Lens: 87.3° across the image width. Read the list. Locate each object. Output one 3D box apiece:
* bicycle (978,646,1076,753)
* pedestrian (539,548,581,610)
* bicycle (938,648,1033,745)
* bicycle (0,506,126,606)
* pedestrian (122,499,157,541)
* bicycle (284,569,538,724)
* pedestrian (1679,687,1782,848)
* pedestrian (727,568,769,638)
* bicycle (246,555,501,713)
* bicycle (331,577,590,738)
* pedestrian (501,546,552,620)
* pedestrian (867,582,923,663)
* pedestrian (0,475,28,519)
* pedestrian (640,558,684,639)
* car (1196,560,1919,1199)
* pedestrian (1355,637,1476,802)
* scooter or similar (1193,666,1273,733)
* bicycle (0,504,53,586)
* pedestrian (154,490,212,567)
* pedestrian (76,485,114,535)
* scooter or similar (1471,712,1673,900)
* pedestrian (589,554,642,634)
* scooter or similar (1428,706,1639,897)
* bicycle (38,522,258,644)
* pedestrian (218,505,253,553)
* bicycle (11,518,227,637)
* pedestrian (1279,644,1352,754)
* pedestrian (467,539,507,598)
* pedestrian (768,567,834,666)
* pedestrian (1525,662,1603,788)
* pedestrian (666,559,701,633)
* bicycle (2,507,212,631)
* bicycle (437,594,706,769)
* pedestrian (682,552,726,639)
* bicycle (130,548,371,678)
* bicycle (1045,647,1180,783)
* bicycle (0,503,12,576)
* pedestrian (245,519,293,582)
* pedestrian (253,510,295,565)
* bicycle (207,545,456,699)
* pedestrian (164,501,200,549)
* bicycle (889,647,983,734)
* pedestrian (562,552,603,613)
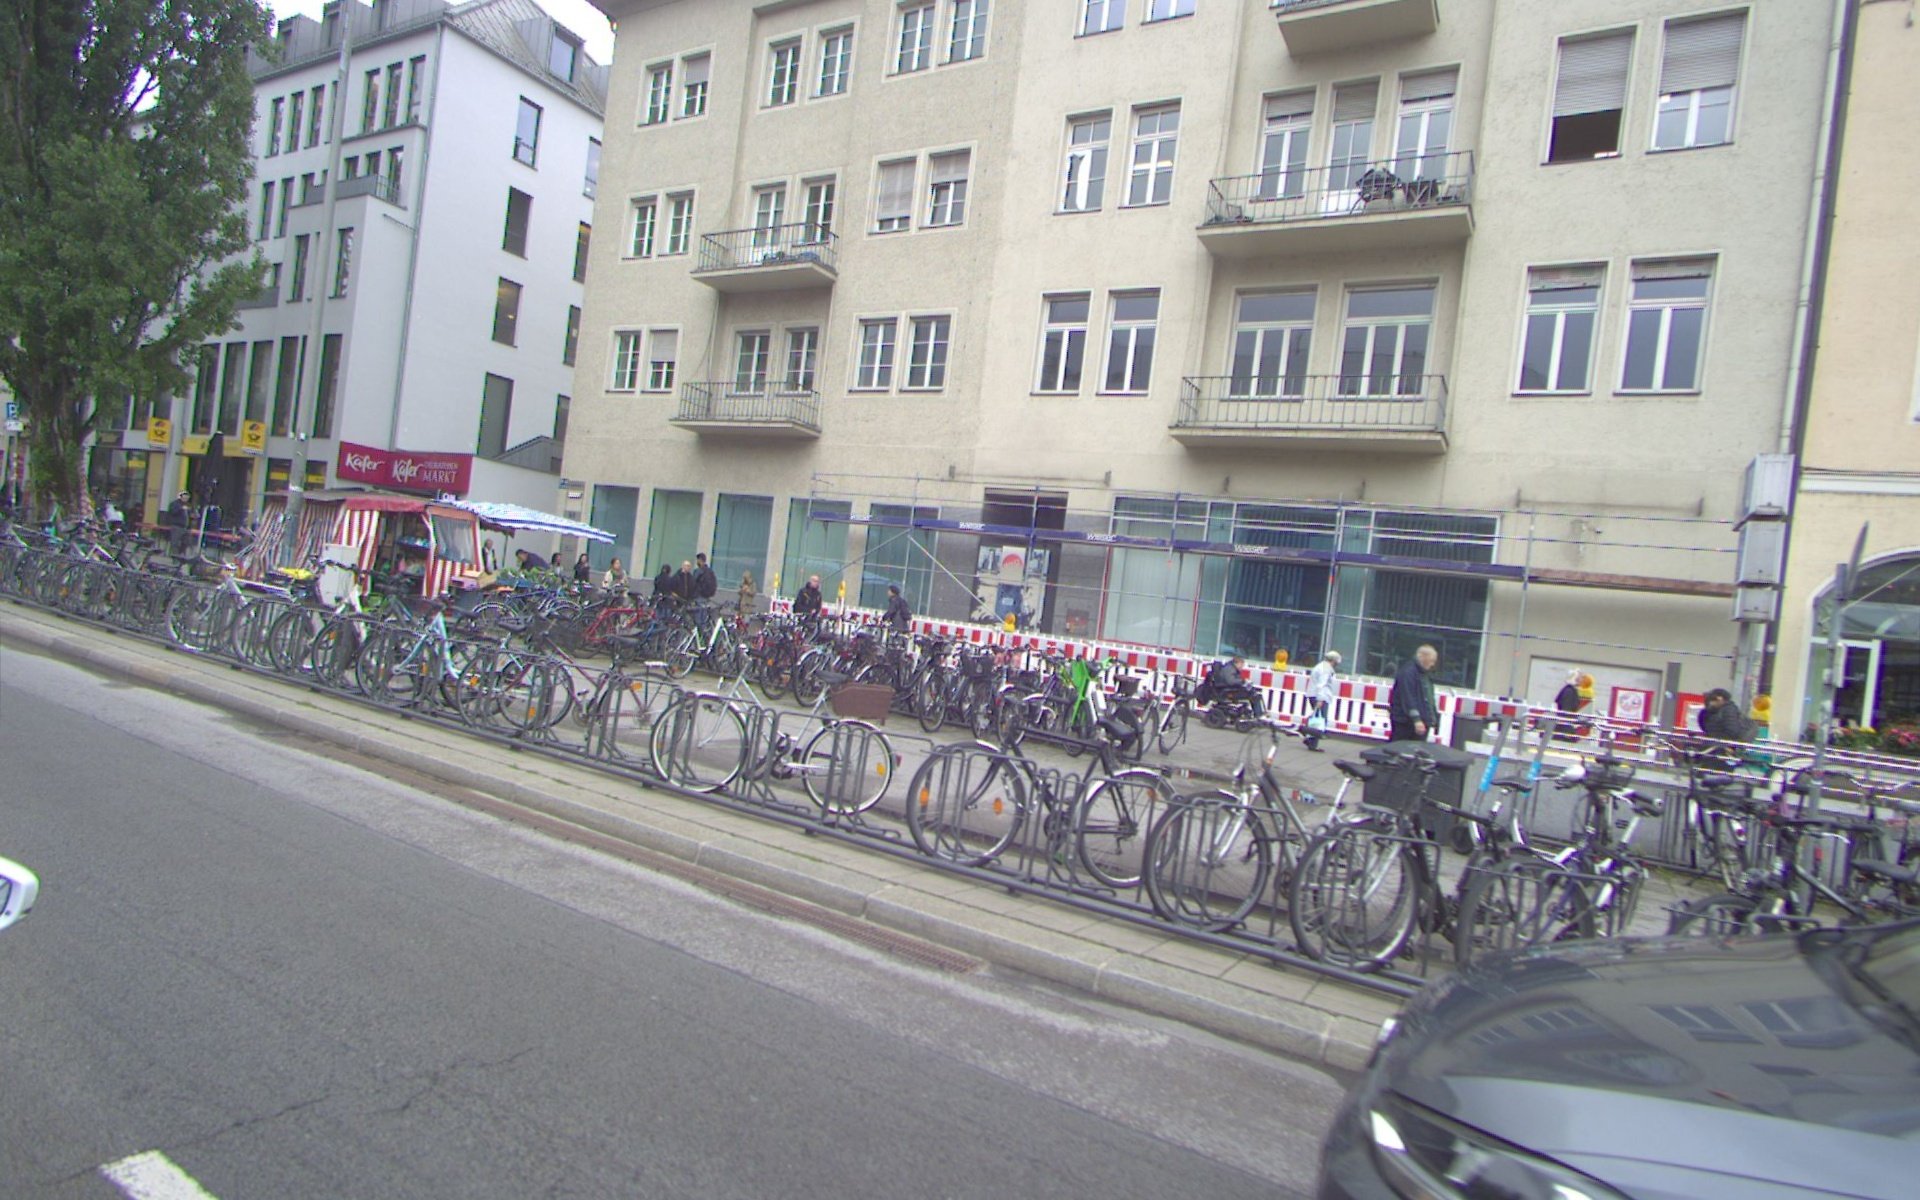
[{"bbox_3d":[0.782,1.108,11.329,0.363,1.090,1.419,8,0,32],"label":"bicycle"},{"bbox_3d":[-9.728,-0.505,24.475,0.570,1.420,0.599,8,1,31],"label":"pedestrian"},{"bbox_3d":[0.313,1.091,11.516,0.363,1.012,1.316,8,0,32],"label":"bicycle"},{"bbox_3d":[-12.494,-0.621,13.498,1.814,1.150,0.583,8,0,-24],"label":"bicycle"},{"bbox_3d":[-28.406,-2.778,34.831,0.665,1.322,0.639,7,1,31],"label":"pedestrian"},{"bbox_3d":[-4.745,0.409,8.804,1.778,1.125,0.489,8,1,-17],"label":"bicycle"},{"bbox_3d":[8.919,1.913,11.678,0.710,1.692,0.657,8,2,33],"label":"pedestrian"},{"bbox_3d":[-5.276,0.077,25.006,0.553,1.665,0.641,8,1,31],"label":"pedestrian"},{"bbox_3d":[-5.272,0.314,9.162,1.810,1.182,0.584,7,1,-17],"label":"bicycle"},{"bbox_3d":[-4.162,0.484,8.512,1.778,1.125,0.584,8,1,-17],"label":"bicycle"},{"bbox_3d":[-9.109,-0.355,21.150,0.648,1.443,0.616,8,1,36],"label":"pedestrian"},{"bbox_3d":[-1.369,0.484,21.176,0.774,1.588,0.649,8,1,32],"label":"pedestrian"},{"bbox_3d":[-37.115,-4.034,39.299,0.665,1.613,0.765,8,1,31],"label":"pedestrian"},{"bbox_3d":[-5.963,-0.028,20.105,0.574,1.523,0.612,7,1,-27],"label":"pedestrian"},{"bbox_3d":[2.823,1.077,1.204,4.629,1.667,1.774,7,0,32],"label":"car"},{"bbox_3d":[5.239,1.371,11.596,0.805,1.750,0.753,6,2,-27],"label":"pedestrian"},{"bbox_3d":[4.603,1.660,16.957,1.106,0.956,0.535,7,2,30],"label":"scooter or similar"},{"bbox_3d":[-14.769,-0.903,14.893,1.814,1.150,0.583,8,0,-24],"label":"bicycle"},{"bbox_3d":[-19.286,-1.769,24.973,0.751,1.749,0.791,8,1,31],"label":"pedestrian"},{"bbox_3d":[-30.023,-3.123,34.911,0.665,1.578,0.714,7,1,31],"label":"pedestrian"},{"bbox_3d":[4.797,1.585,7.972,0.298,1.190,1.268,6,1,-28],"label":"scooter or similar"},{"bbox_3d":[-7.164,-0.133,20.904,0.801,1.541,0.795,7,1,-26],"label":"pedestrian"},{"bbox_3d":[4.459,1.535,7.915,0.361,1.190,1.337,6,1,-28],"label":"scooter or similar"},{"bbox_3d":[-9.380,-0.183,11.690,1.810,1.150,0.584,7,1,-17],"label":"bicycle"},{"bbox_3d":[-26.049,-2.542,36.171,0.665,1.578,0.714,7,1,31],"label":"pedestrian"},{"bbox_3d":[-10.025,-0.257,12.063,1.810,1.150,0.584,7,1,-17],"label":"bicycle"},{"bbox_3d":[5.397,1.479,15.248,0.745,1.537,0.778,8,2,29],"label":"pedestrian"},{"bbox_3d":[-12.206,-0.813,25.967,0.570,1.420,0.599,8,1,31],"label":"pedestrian"},{"bbox_3d":[-3.000,0.320,18.977,0.745,1.750,0.743,8,2,31],"label":"pedestrian"},{"bbox_3d":[8.680,1.771,14.497,0.745,1.672,0.751,8,2,29],"label":"pedestrian"},{"bbox_3d":[-5.847,-0.089,21.296,0.501,1.502,0.462,6,1,-24],"label":"pedestrian"},{"bbox_3d":[-10.528,-0.369,12.482,1.810,1.256,0.584,7,1,-17],"label":"bicycle"},{"bbox_3d":[-2.956,0.636,7.810,1.778,1.125,0.560,8,1,-18],"label":"bicycle"},{"bbox_3d":[-5.222,-0.102,20.521,0.594,1.690,0.682,6,1,-24],"label":"pedestrian"},{"bbox_3d":[-7.148,0.133,10.225,1.810,1.065,0.584,8,0,-17],"label":"bicycle"},{"bbox_3d":[1.559,1.167,10.607,0.365,1.156,1.712,6,1,-26],"label":"bicycle"},{"bbox_3d":[-16.037,-1.064,15.567,1.814,1.150,0.583,8,0,-24],"label":"bicycle"},{"bbox_3d":[-19.298,-1.372,28.099,0.729,1.622,0.733,7,1,31],"label":"pedestrian"},{"bbox_3d":[-22.256,-2.023,32.641,0.729,1.622,0.733,7,1,31],"label":"pedestrian"},{"bbox_3d":[-5.921,0.216,9.581,1.810,1.212,0.584,7,1,-17],"label":"bicycle"},{"bbox_3d":[-27.737,-2.674,35.864,0.665,1.578,0.714,7,1,31],"label":"pedestrian"},{"bbox_3d":[-0.261,1.057,11.813,0.363,0.926,1.294,8,0,32],"label":"bicycle"},{"bbox_3d":[-9.380,-0.432,25.011,0.570,1.420,0.575,8,1,31],"label":"pedestrian"}]
